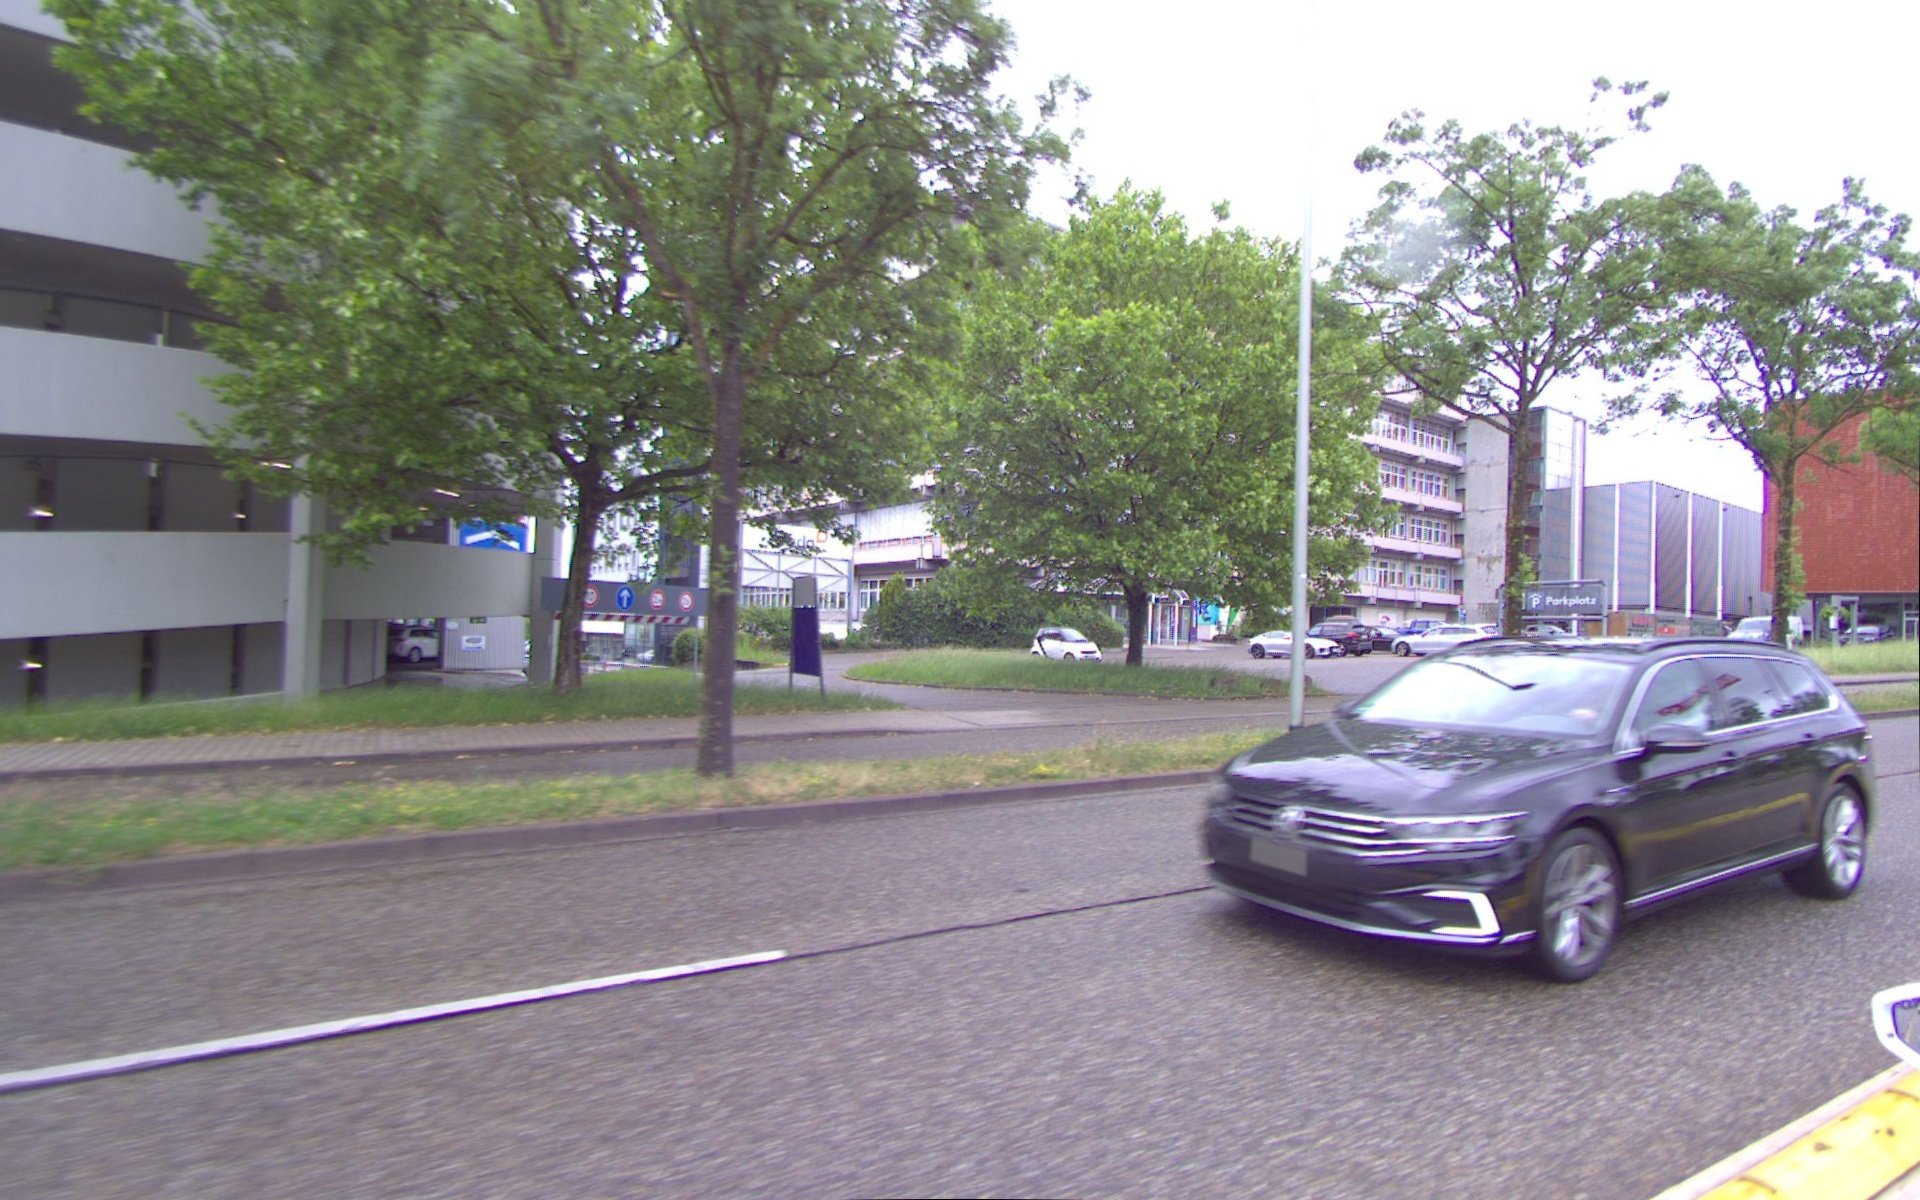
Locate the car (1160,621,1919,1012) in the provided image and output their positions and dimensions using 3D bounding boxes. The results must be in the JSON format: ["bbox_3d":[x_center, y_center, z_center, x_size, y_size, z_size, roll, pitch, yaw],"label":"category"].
[{"bbox_3d":[3.487,0.912,5.801,4.563,1.485,1.818,2,-3,-31],"label":"car"}]

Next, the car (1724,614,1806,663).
[{"bbox_3d":[39.084,1.801,48.730,5.078,2.124,2.097,0,1,-39],"label":"car"}]

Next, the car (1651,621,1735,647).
[{"bbox_3d":[48.132,2.223,66.035,1.802,1.530,4.159,0,1,-38],"label":"car"}]

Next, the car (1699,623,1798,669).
[{"bbox_3d":[34.995,1.995,44.571,4.893,1.786,2.027,0,1,-34],"label":"car"}]

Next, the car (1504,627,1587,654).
[{"bbox_3d":[37.764,2.576,64.861,1.831,1.530,4.243,0,1,-38],"label":"car"}]

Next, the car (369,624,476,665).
[{"bbox_3d":[-22.465,1.820,42.134,1.717,1.481,3.846,2,0,16],"label":"car"}]

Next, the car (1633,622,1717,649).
[{"bbox_3d":[46.023,2.278,64.699,1.802,1.530,4.077,0,1,-38],"label":"car"}]

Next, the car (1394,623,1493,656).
[{"bbox_3d":[26.931,2.165,56.043,2.007,1.530,4.575,0,1,-38],"label":"car"}]

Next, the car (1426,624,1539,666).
[{"bbox_3d":[25.025,2.117,48.243,1.883,1.769,4.465,0,1,-38],"label":"car"}]

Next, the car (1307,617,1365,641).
[{"bbox_3d":[29.445,2.243,78.692,1.783,1.756,3.958,0,1,-36],"label":"car"}]

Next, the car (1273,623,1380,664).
[{"bbox_3d":[18.058,2.086,49.631,2.117,1.769,4.558,0,1,-41],"label":"car"}]

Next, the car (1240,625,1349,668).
[{"bbox_3d":[15.816,2.148,47.615,1.951,1.769,4.558,0,1,-41],"label":"car"}]

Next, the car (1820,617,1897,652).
[{"bbox_3d":[51.111,1.933,57.138,4.557,1.797,2.126,0,1,-33],"label":"car"}]

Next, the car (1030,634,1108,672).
[{"bbox_3d":[4.228,2.064,39.235,1.597,1.383,2.674,0,-2,-40],"label":"car"}]

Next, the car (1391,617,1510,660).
[{"bbox_3d":[22.698,1.731,46.620,1.949,1.769,4.564,0,1,-38],"label":"car"}]

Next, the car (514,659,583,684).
[{"bbox_3d":[-27.349,4.723,66.774,3.962,1.530,1.782,2,-2,-37],"label":"car"}]

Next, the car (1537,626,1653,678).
[{"bbox_3d":[23.040,1.816,36.398,4.664,1.630,1.920,0,1,-36],"label":"car"}]
